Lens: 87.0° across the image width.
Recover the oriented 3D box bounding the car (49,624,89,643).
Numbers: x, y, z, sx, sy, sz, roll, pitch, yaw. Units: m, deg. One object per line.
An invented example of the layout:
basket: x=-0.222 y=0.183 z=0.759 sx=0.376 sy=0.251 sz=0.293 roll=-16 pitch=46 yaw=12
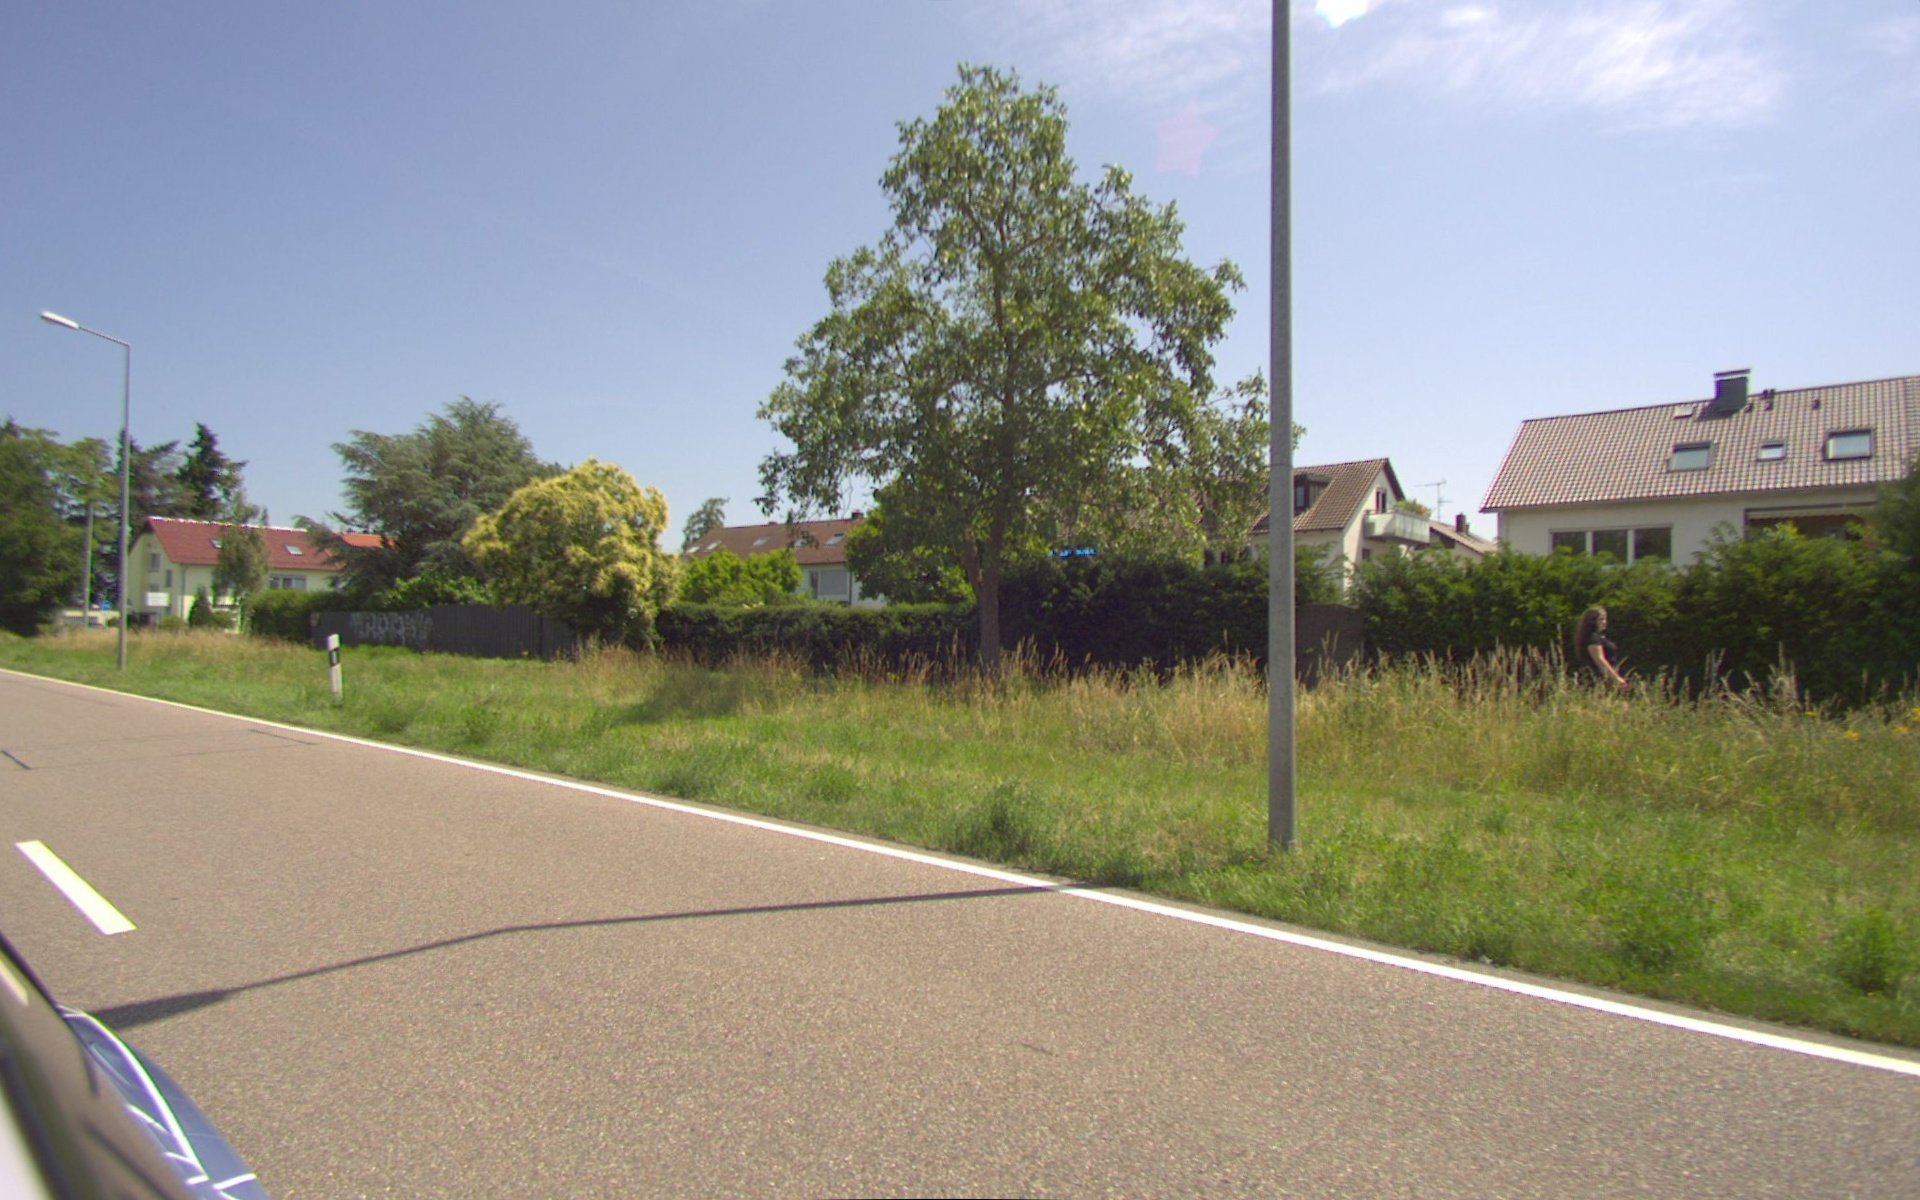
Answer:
car: x=-73.578 y=2.774 z=83.544 sx=4.179 sy=1.503 sz=1.691 roll=-1 pitch=-1 yaw=37

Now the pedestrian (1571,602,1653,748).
pedestrian: x=6.955 y=0.774 z=10.799 sx=0.633 sy=1.489 sz=0.602 roll=-1 pitch=-1 yaw=41
